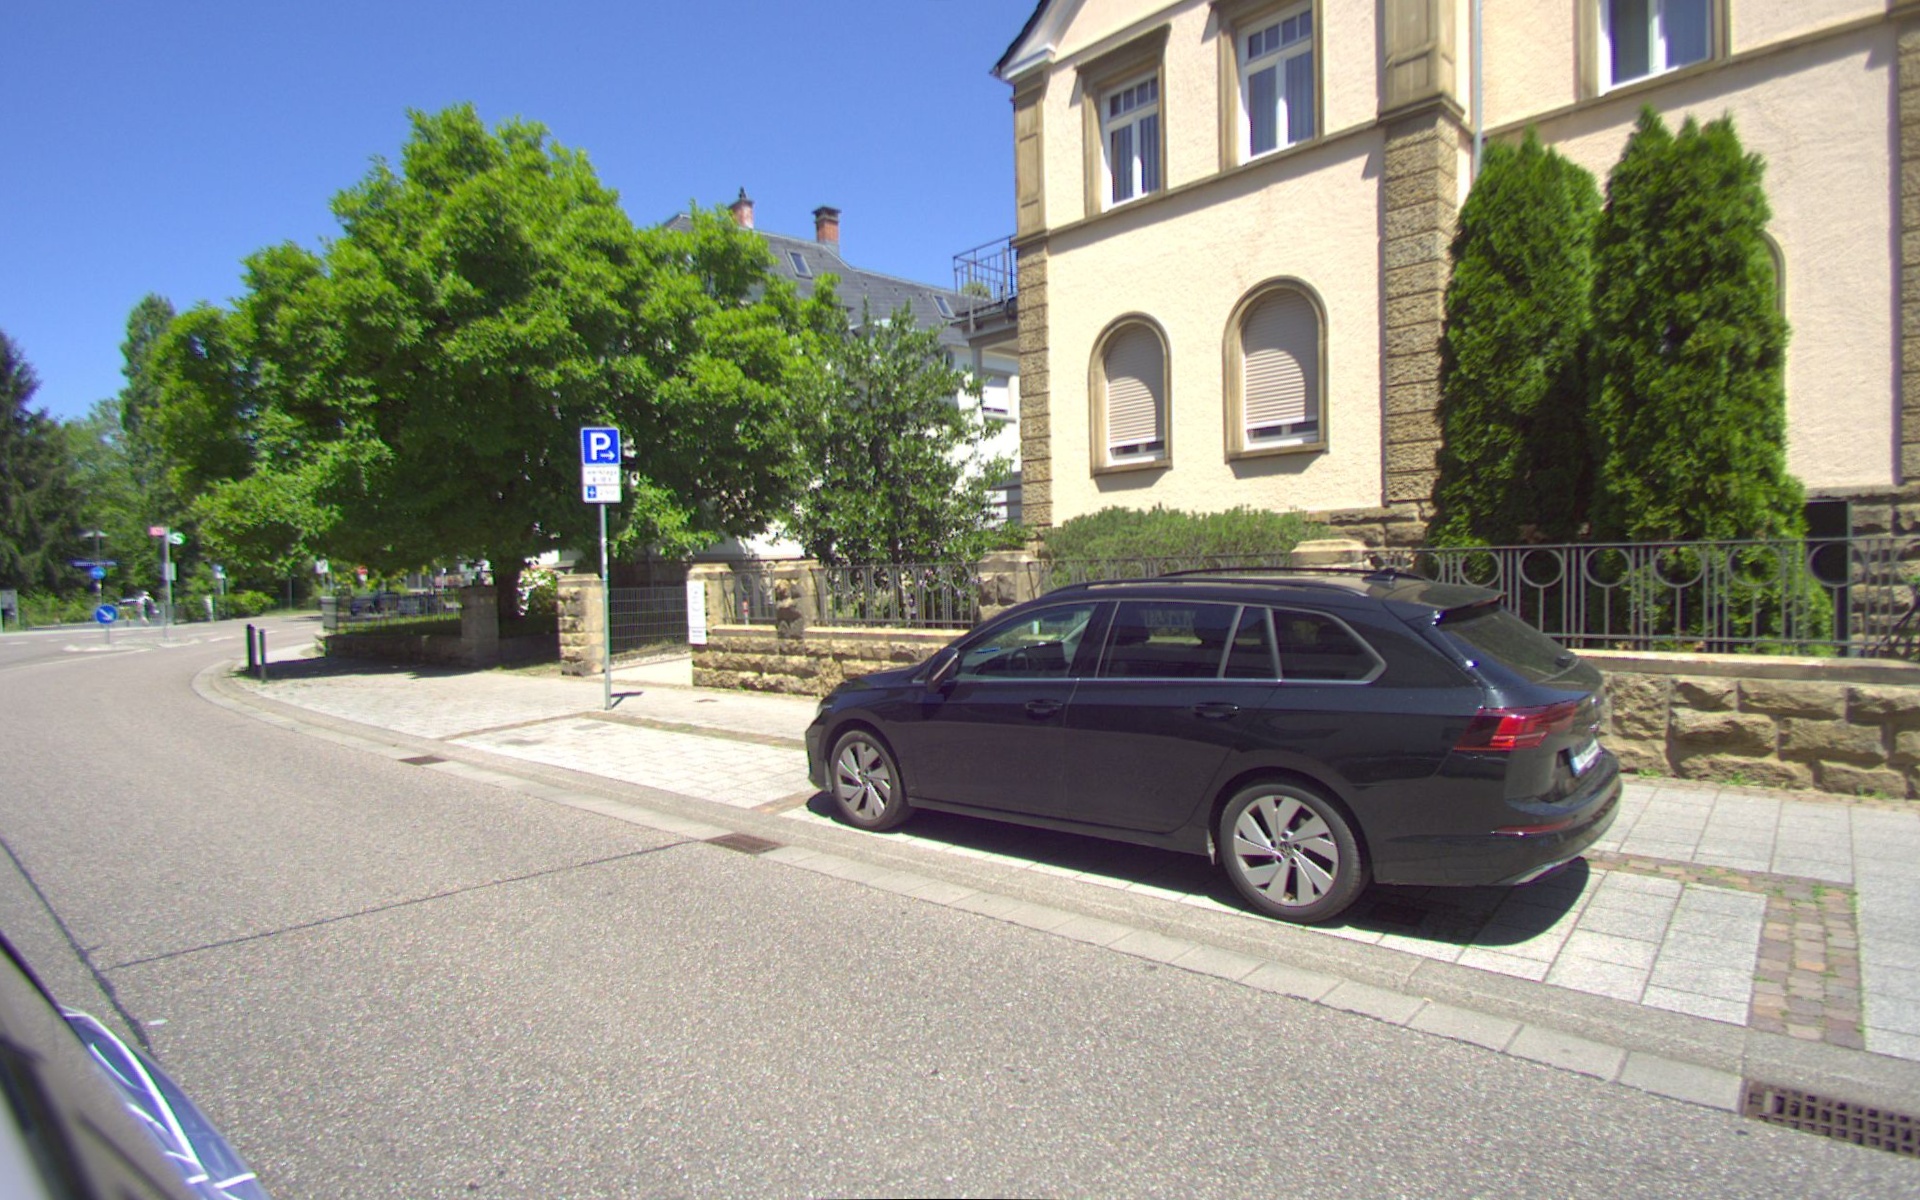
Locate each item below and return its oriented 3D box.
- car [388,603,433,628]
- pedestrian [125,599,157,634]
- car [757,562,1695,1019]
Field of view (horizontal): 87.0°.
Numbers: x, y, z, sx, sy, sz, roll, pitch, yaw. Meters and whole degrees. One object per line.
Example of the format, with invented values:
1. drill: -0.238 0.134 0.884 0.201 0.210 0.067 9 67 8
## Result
1. car: -32.946 0.904 60.772 1.733 1.446 4.318 0 0 -20
2. pedestrian: -42.401 0.829 52.393 0.902 1.785 0.915 0 0 1
3. car: 1.103 0.642 5.628 4.657 1.447 1.906 -1 3 42
